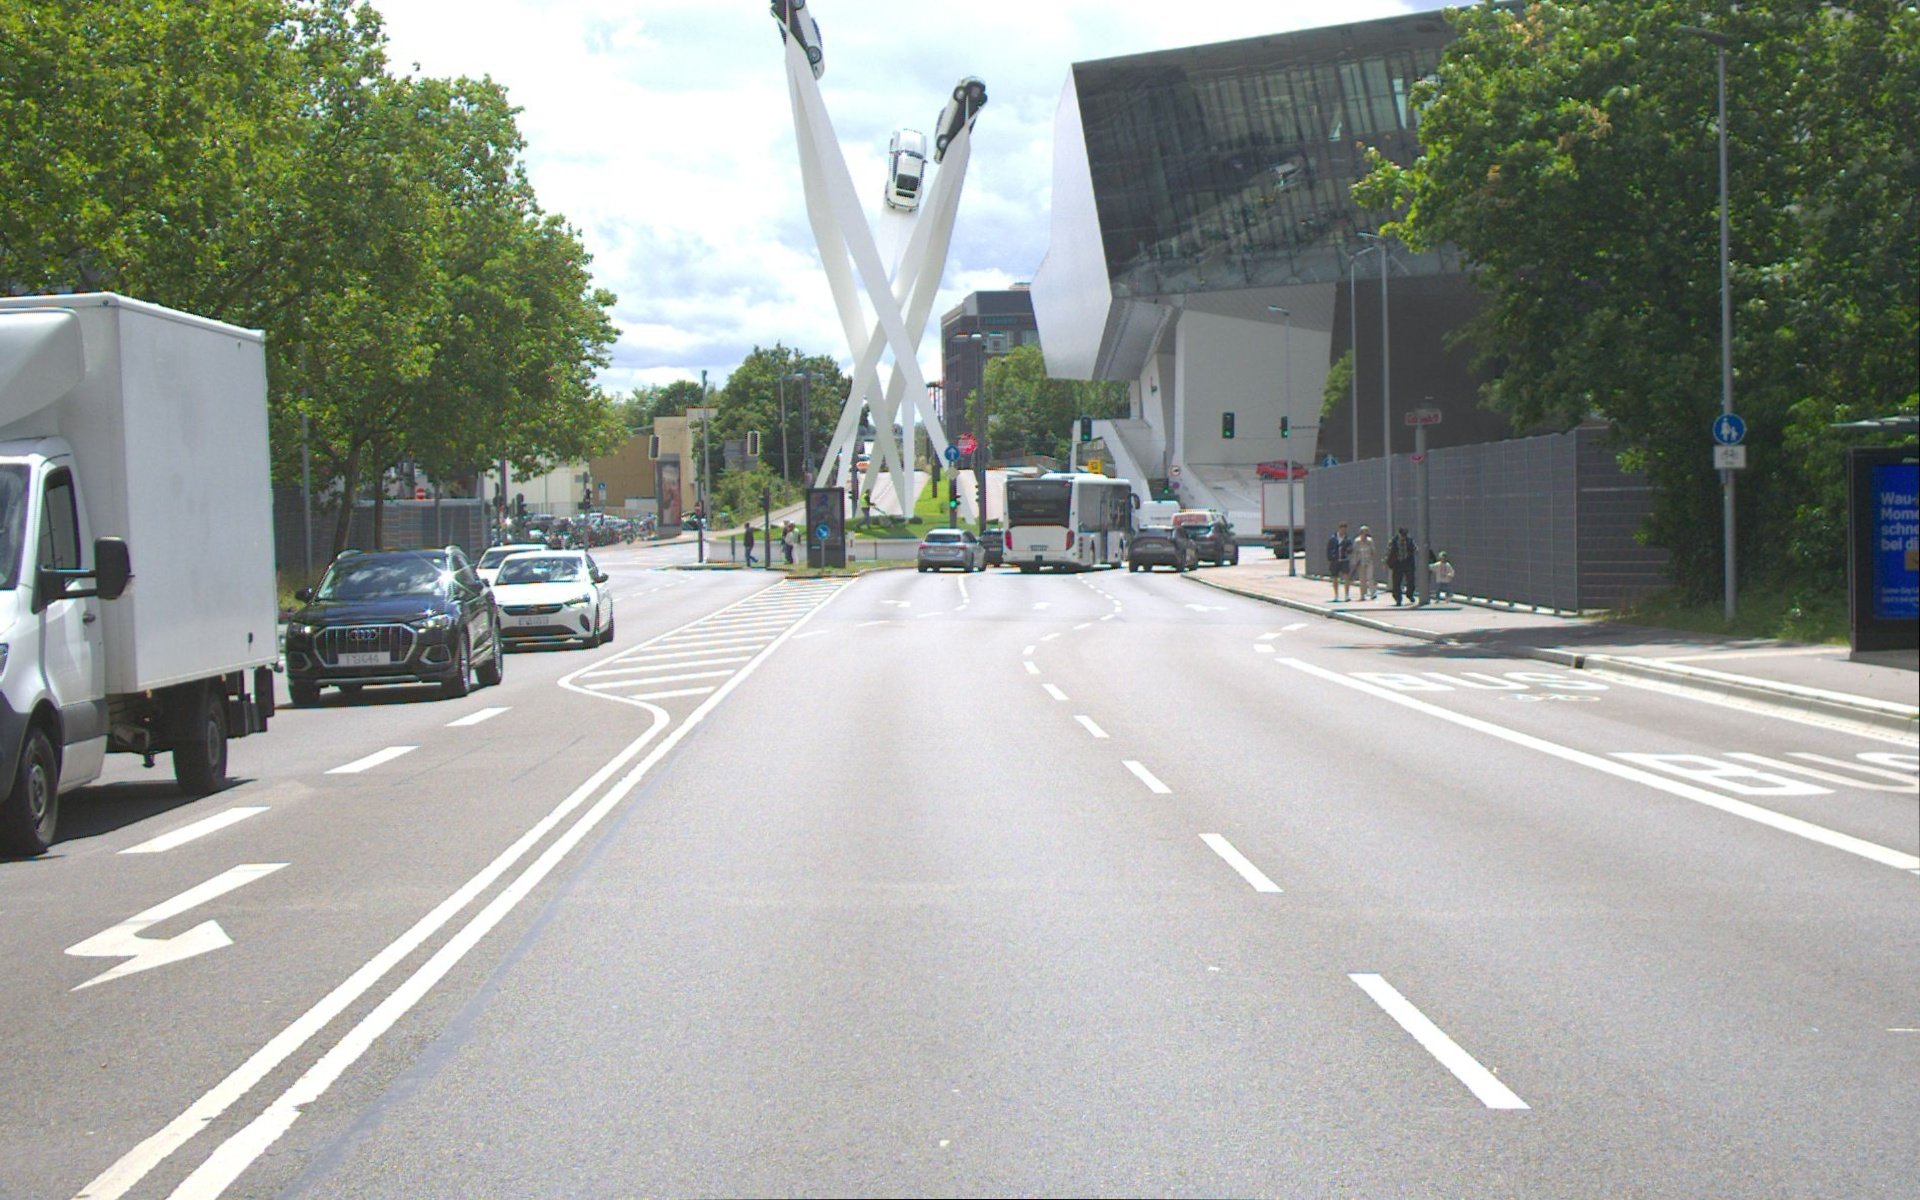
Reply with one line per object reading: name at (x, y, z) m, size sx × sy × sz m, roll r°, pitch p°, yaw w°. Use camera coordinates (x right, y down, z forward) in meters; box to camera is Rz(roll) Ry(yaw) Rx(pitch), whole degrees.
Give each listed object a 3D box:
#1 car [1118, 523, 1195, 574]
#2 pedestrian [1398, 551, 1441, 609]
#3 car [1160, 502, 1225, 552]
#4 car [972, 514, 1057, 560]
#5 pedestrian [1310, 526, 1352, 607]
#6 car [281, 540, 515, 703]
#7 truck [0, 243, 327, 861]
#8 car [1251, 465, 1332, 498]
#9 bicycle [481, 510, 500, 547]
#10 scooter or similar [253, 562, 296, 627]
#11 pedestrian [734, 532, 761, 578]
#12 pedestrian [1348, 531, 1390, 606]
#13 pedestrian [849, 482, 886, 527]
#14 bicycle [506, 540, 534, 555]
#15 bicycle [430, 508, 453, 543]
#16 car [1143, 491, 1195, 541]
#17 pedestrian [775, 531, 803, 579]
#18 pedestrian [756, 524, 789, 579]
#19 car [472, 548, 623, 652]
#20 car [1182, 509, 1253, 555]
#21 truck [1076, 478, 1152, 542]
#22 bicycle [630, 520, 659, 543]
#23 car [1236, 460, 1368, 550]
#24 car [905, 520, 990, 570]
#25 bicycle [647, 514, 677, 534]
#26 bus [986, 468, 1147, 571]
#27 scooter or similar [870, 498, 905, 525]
car at (6.754, -1.773, 117.611) m, size 1.995 × 1.631 × 3.998 m, roll 1°, pitch 2°, yaw 13°
pedestrian at (9.159, -0.406, 68.541) m, size 0.757 × 1.145 × 0.971 m, roll 1°, pitch 0°, yaw 3°
car at (9.475, -2.955, 139.933) m, size 1.995 × 1.926 × 4.238 m, roll 1°, pitch 0°, yaw 13°
car at (2.021, -2.306, 126.494) m, size 1.995 × 1.631 × 3.996 m, roll 1°, pitch 0°, yaw 18°
pedestrian at (7.913, -0.707, 73.387) m, size 0.794 × 1.715 × 0.732 m, roll 1°, pitch 0°, yaw 0°
car at (-5.999, 0.190, 37.119) m, size 1.740 × 1.575 × 4.267 m, roll -3°, pitch 1°, yaw 0°
truck at (-5.916, -0.242, 20.844) m, size 2.452 × 3.118 × 7.243 m, roll -3°, pitch 1°, yaw 2°
car at (19.465, -6.978, 201.861) m, size 1.995 × 1.390 × 4.511 m, roll -7°, pitch 12°, yaw -43°
bicycle at (-14.601, -2.216, 106.904) m, size 0.296 × 1.127 × 1.485 m, roll 1°, pitch 0°, yaw 3°
scooter or similar at (-13.718, -0.120, 68.795) m, size 0.523 × 1.230 × 1.318 m, roll 3°, pitch 2°, yaw 2°
pedestrian at (-8.074, -1.707, 130.595) m, size 0.863 × 1.767 × 1.036 m, roll 0°, pitch 0°, yaw -13°
pedestrian at (8.718, -0.674, 73.341) m, size 0.794 × 1.591 × 0.732 m, roll 1°, pitch 0°, yaw 0°
pedestrian at (-3.982, -4.101, 147.592) m, size 1.281 × 1.810 × 0.987 m, roll -5°, pitch 5°, yaw -13°
bicycle at (-24.551, -2.930, 191.739) m, size 1.609 × 0.863 × 0.492 m, roll 1°, pitch 0°, yaw 34°
bicycle at (-15.152, -2.187, 100.477) m, size 0.296 × 1.002 × 1.251 m, roll 1°, pitch 0°, yaw 10°
car at (9.555, -3.805, 156.851) m, size 1.994 × 2.163 × 4.654 m, roll 1°, pitch 0°, yaw 8°
pedestrian at (-6.292, -1.660, 126.539) m, size 0.863 × 1.767 × 1.036 m, roll 0°, pitch 0°, yaw -13°
pedestrian at (-7.051, -1.821, 129.402) m, size 0.953 × 2.048 × 0.950 m, roll 1°, pitch 0°, yaw 19°
car at (-6.092, -0.031, 51.171) m, size 1.691 × 1.410 × 4.146 m, roll -2°, pitch 1°, yaw 0°
car at (9.382, -2.465, 124.979) m, size 1.995 × 1.631 × 3.998 m, roll 1°, pitch 0°, yaw 13°
truck at (6.349, -3.680, 141.353) m, size 2.208 × 2.507 × 5.130 m, roll 1°, pitch 0°, yaw 13°
bicycle at (-18.169, -3.961, 198.151) m, size 1.605 × 1.312 × 0.493 m, roll 1°, pitch 0°, yaw 0°
car at (14.139, -3.866, 141.300) m, size 3.338 × 3.492 × 9.333 m, roll 1°, pitch 0°, yaw 19°
car at (-0.389, -1.822, 115.314) m, size 1.995 × 1.631 × 3.998 m, roll 1°, pitch 0°, yaw 13°
bicycle at (-17.961, -4.605, 207.223) m, size 1.737 × 1.178 × 0.670 m, roll 1°, pitch 2°, yaw -1°
bus at (3.824, -2.722, 119.393) m, size 3.074 × 3.350 × 12.215 m, roll 1°, pitch 0°, yaw 14°
scooter or similar at (-3.116, -3.794, 147.715) m, size 1.400 × 1.022 × 0.550 m, roll -4°, pitch 7°, yaw -11°
